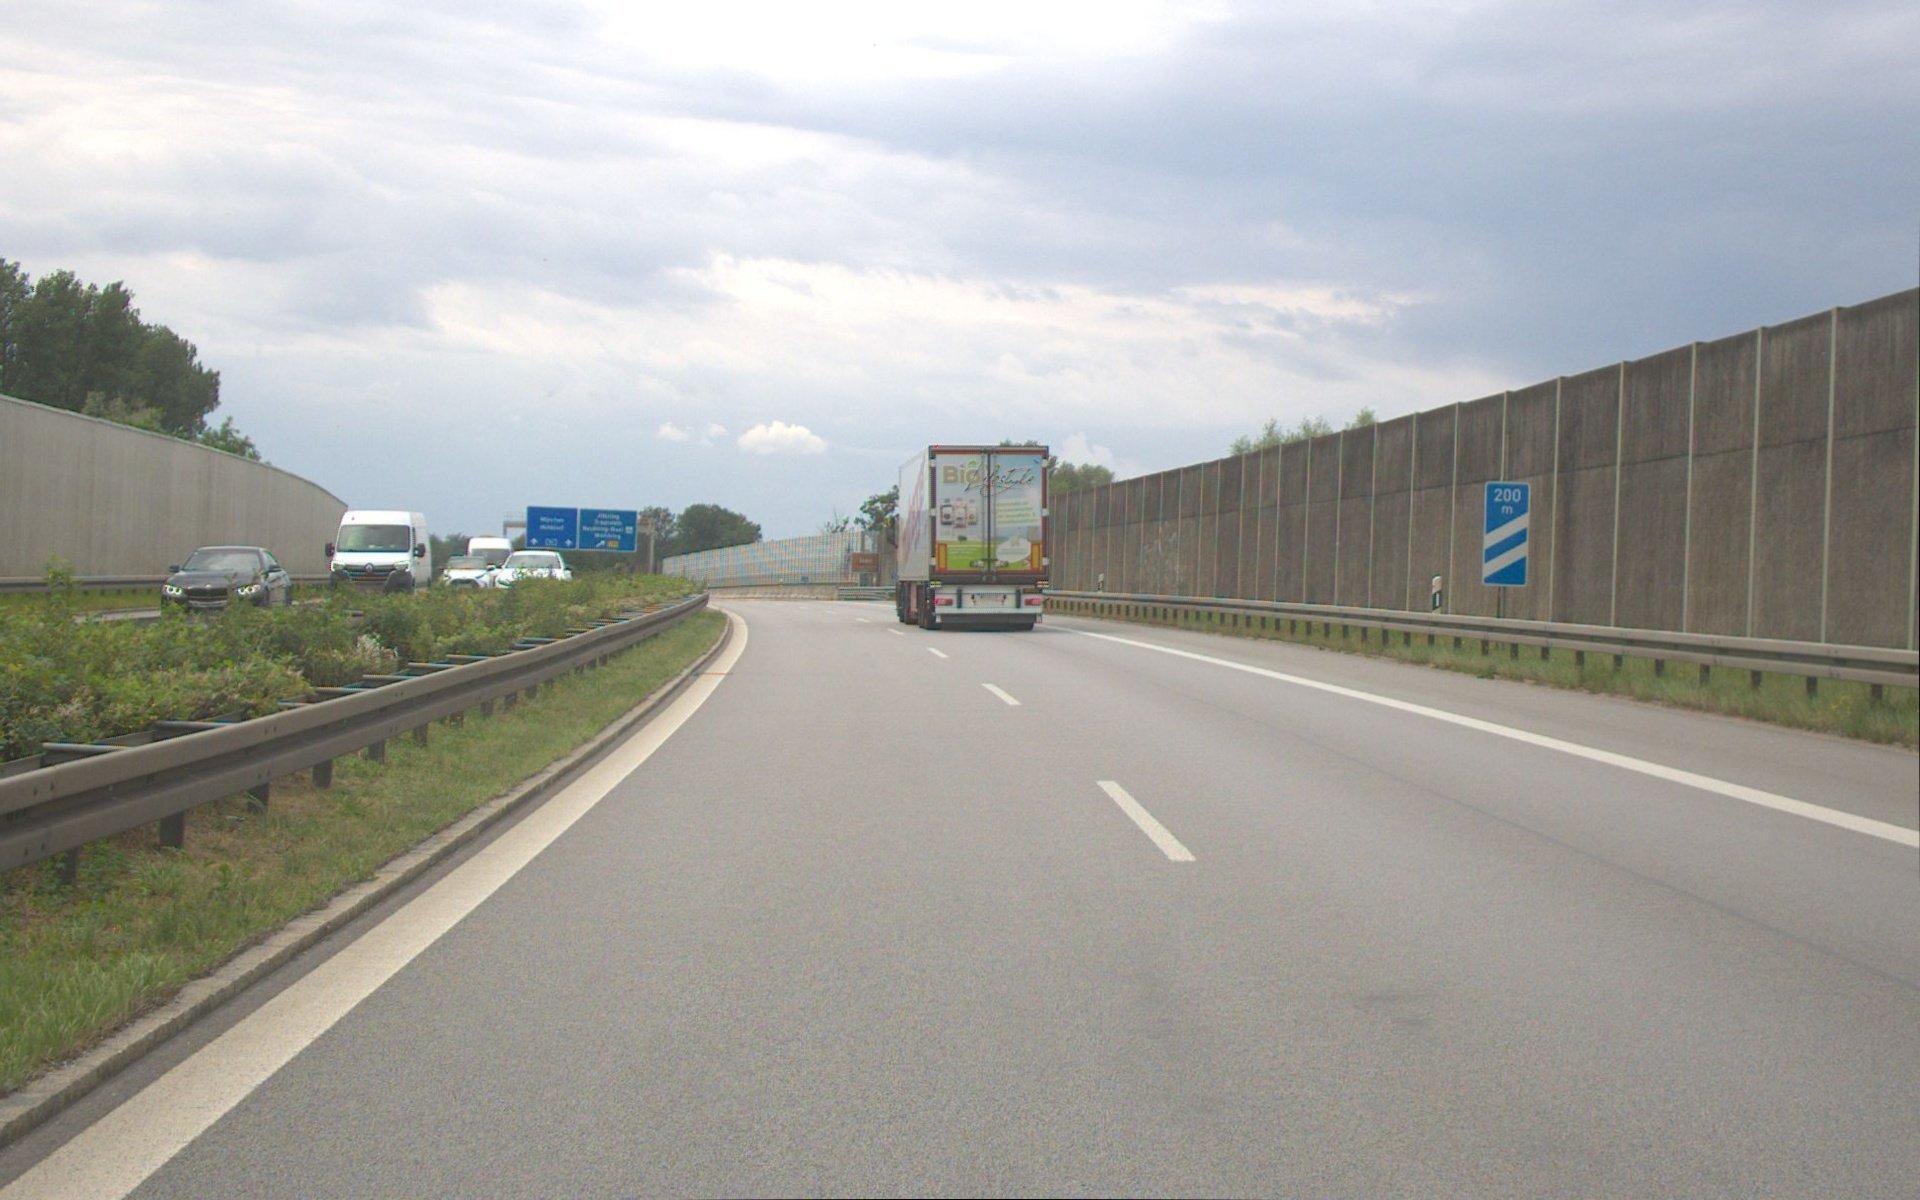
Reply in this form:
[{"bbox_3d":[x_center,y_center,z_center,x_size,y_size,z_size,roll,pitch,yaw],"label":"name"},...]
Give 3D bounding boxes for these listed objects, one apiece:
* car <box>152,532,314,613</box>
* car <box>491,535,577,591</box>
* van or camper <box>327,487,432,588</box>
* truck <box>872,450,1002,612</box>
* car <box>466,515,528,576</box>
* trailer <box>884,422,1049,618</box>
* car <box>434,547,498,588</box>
[{"bbox_3d":[-13.028,-0.509,61.855,1.993,1.360,4.968,1,1,-2],"label":"car"},{"bbox_3d":[-11.282,-0.998,91.245,1.805,1.409,4.968,1,1,-2],"label":"car"},{"bbox_3d":[-14.553,-1.559,86.506,1.993,2.433,6.310,0,1,-4],"label":"van or camper"},{"bbox_3d":[-0.627,-1.711,87.368,2.755,3.946,5.678,0,0,-6],"label":"truck"},{"bbox_3d":[-19.047,-2.236,141.727,2.111,2.447,5.684,0,1,-3],"label":"car"},{"bbox_3d":[-0.024,-1.746,80.682,2.792,4.160,14.105,0,0,-4],"label":"trailer"},{"bbox_3d":[-17.330,-1.157,120.742,1.864,1.398,4.500,0,1,-3],"label":"car"}]
